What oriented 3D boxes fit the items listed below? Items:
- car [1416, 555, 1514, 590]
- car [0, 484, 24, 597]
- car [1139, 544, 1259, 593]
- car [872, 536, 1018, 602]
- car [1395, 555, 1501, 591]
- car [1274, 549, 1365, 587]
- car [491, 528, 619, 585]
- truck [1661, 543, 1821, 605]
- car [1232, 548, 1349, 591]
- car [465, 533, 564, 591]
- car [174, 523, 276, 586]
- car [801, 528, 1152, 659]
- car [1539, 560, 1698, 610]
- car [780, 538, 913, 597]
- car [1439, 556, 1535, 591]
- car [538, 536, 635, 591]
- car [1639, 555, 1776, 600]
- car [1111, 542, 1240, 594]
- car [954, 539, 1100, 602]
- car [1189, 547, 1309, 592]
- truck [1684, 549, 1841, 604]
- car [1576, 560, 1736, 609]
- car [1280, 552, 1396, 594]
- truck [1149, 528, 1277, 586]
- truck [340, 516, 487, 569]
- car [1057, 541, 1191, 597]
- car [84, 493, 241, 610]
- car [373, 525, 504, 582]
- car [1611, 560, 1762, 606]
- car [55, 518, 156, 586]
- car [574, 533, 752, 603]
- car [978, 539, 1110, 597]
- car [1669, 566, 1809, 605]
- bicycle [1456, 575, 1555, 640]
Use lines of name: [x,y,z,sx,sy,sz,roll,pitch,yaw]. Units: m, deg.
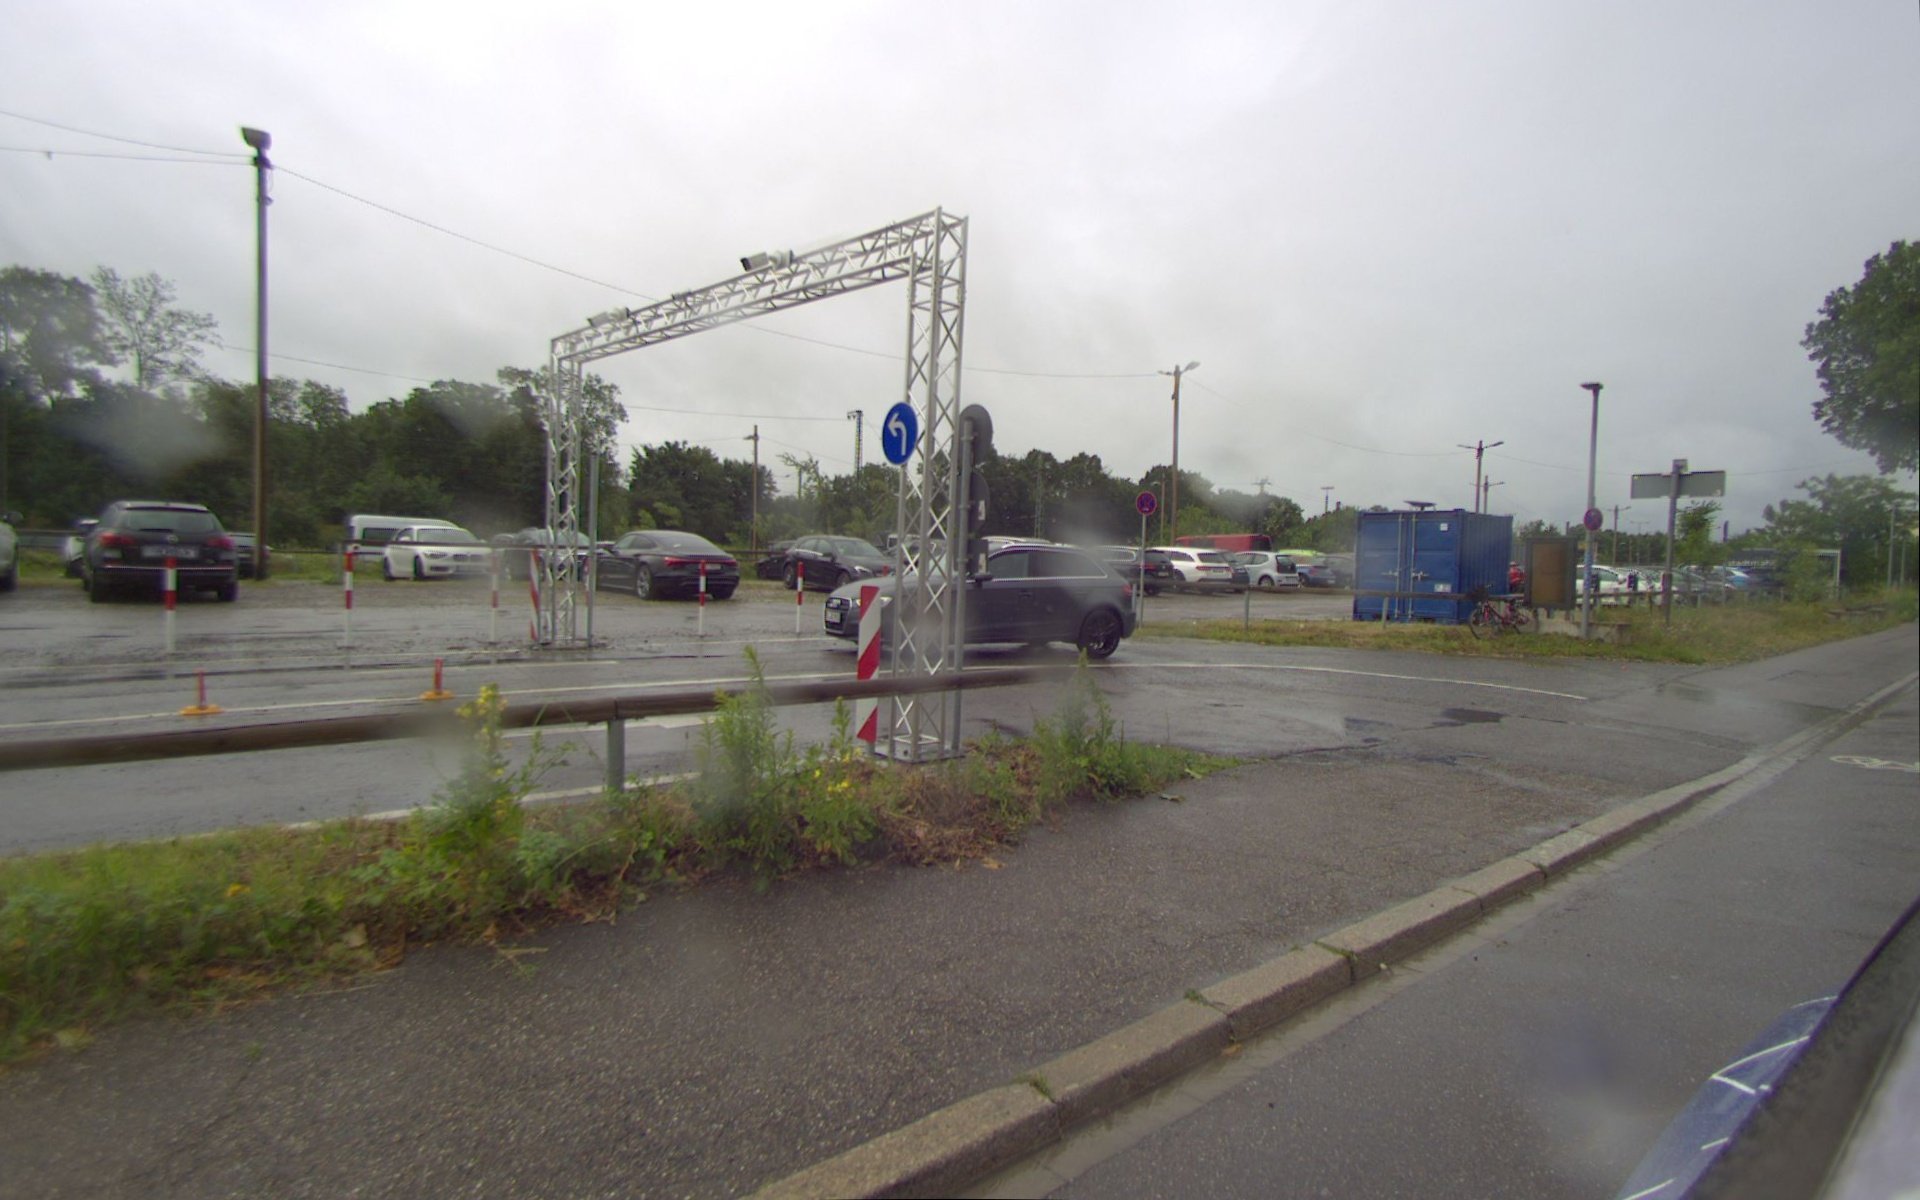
car: [25.070,-1.402,50.371,1.676,1.497,3.965,-1,5,-38]
car: [-14.912,-0.883,14.524,1.754,1.602,3.917,-1,6,-37]
car: [8.558,-1.172,36.465,1.746,1.507,3.965,-1,5,-38]
car: [-0.469,-0.875,26.867,1.836,1.507,3.965,-1,5,-38]
car: [23.216,-1.324,48.252,1.891,1.508,4.078,-2,5,-38]
car: [18.101,-1.635,51.072,1.763,1.822,4.001,-1,3,-36]
car: [-10.317,-1.127,25.647,1.726,1.348,3.993,-1,3,-42]
truck: [32.769,-1.138,42.573,2.075,2.432,5.040,-1,3,-42]
car: [12.891,-1.214,39.610,1.853,1.444,3.965,-2,5,-38]
car: [-15.714,-1.358,35.599,1.967,1.852,3.993,-1,4,-43]
car: [-21.975,-1.389,30.192,1.987,1.741,4.325,0,4,-43]
car: [0.239,-0.090,13.194,4.141,1.474,1.904,1,2,-28]
car: [20.215,-0.510,31.160,1.874,1.410,3.777,-2,3,-42]
car: [-2.910,-0.861,25.165,1.617,1.235,3.903,-1,5,-35]
car: [27.237,-1.411,52.384,1.774,1.555,3.965,-1,5,-38]
car: [-13.824,-1.369,37.353,1.967,1.852,3.993,-1,4,-43]
car: [28.437,-0.888,38.564,1.865,1.614,3.901,-2,3,-42]
car: [7.063,-1.111,33.556,1.746,1.507,3.965,-1,5,-38]
car: [1.785,-0.872,27.981,1.836,1.507,3.965,-1,5,-38]
car: [10.810,-1.177,38.044,1.853,1.444,3.965,-2,5,-38]
truck: [36.756,-1.126,46.482,2.038,2.351,5.341,-1,2,-40]
car: [22.359,-0.551,32.605,1.874,1.440,3.901,-2,3,-42]
car: [15.161,-1.126,40.734,1.853,1.444,3.965,-2,5,-38]
truck: [11.326,-1.985,45.648,2.115,2.396,5.301,0,4,-40]
truck: [-23.120,-2.413,42.937,5.184,2.038,2.087,0,3,-39]
car: [5.049,-1.021,31.615,1.746,1.507,3.965,-1,5,-38]
car: [-12.593,-0.851,16.099,1.754,1.602,3.788,-1,6,-37]
car: [-12.378,-1.144,23.899,1.801,1.084,4.069,-2,6,-42]
car: [24.647,-0.614,34.434,1.749,1.440,3.901,-2,3,-42]
car: [-23.853,-1.363,28.194,1.987,1.741,4.325,0,4,-43]
car: [-6.488,-0.759,21.765,1.944,1.235,4.598,-2,6,-41]
car: [2.479,-1.022,30.775,1.746,1.507,3.965,-1,5,-38]
car: [30.978,-0.622,40.317,1.832,1.437,4.165,-2,3,-43]
bicycle: [9.717,0.138,18.025,1.667,1.097,0.510,1,2,-20]
